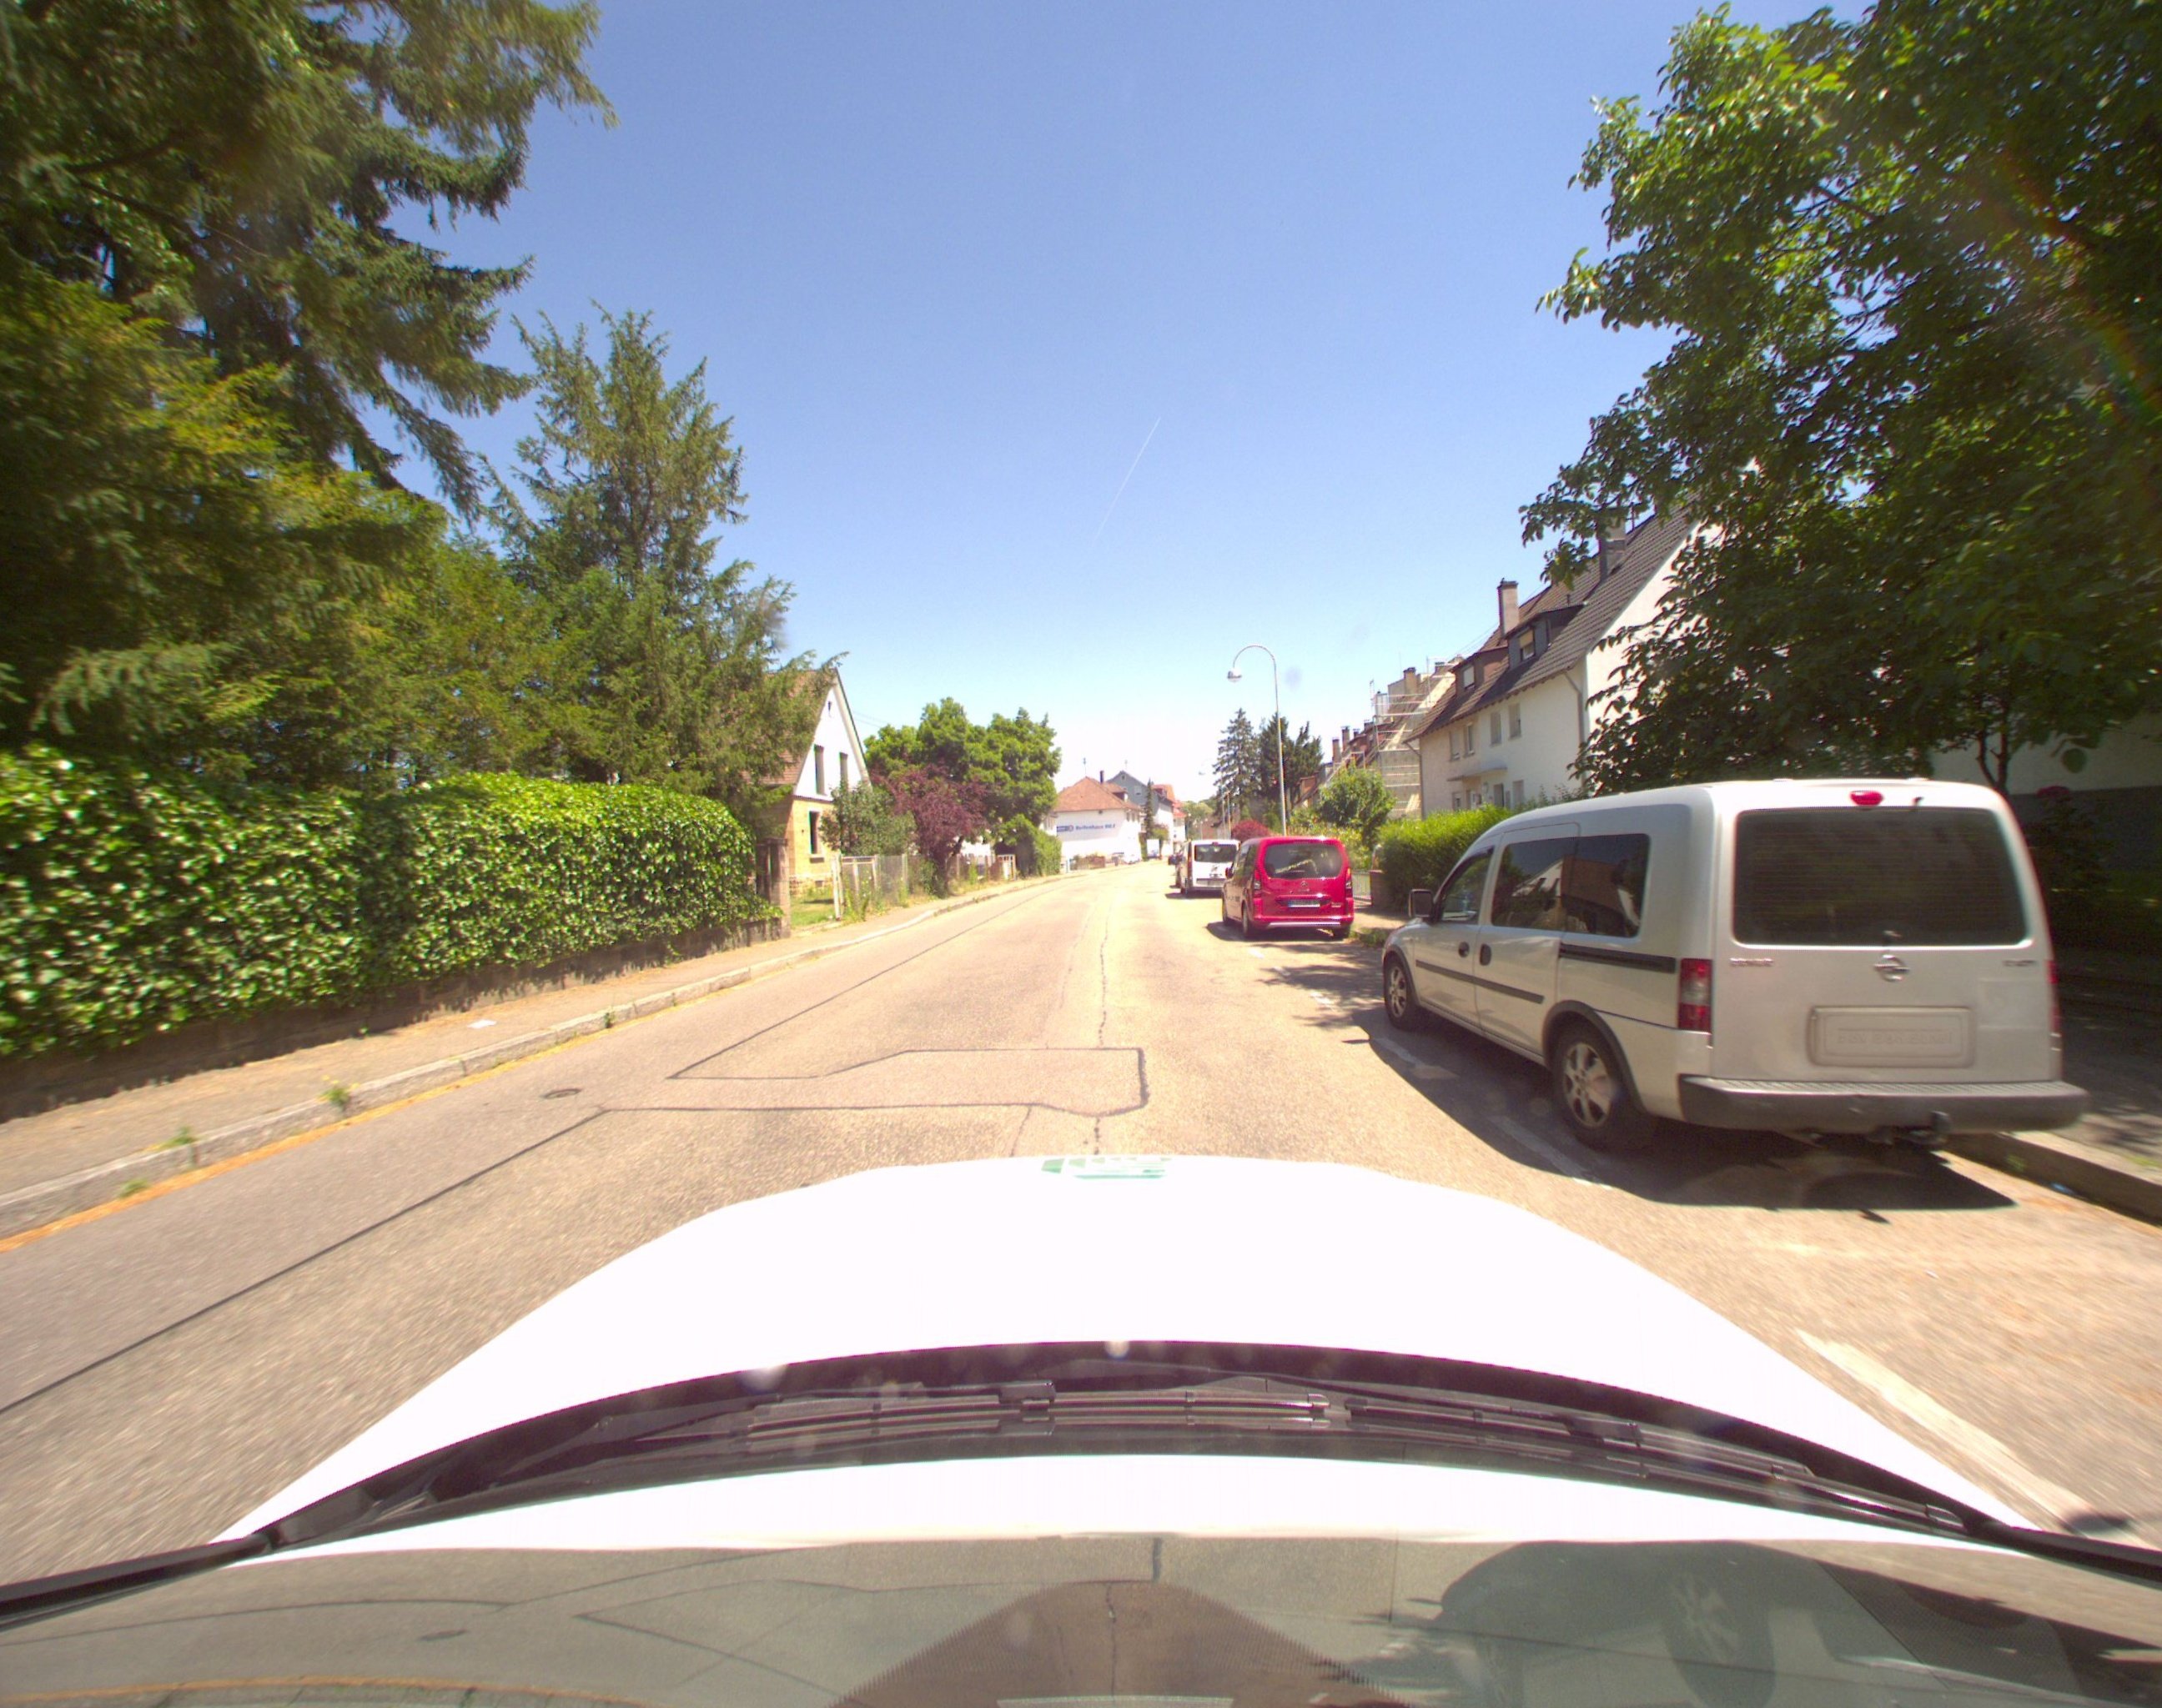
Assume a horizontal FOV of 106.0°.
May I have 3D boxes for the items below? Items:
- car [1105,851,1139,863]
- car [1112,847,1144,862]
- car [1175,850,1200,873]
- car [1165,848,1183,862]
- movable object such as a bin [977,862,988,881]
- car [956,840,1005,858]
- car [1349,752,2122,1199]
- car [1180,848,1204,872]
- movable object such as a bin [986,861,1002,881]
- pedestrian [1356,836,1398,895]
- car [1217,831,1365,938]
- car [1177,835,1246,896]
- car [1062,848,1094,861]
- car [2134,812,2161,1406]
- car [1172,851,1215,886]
[{"bbox_3d":[5.300,0.389,106.052,1.923,1.343,4.091,-3,1,-45],"label":"car"},{"bbox_3d":[6.410,0.064,111.404,4.106,1.774,1.832,-2,0,7],"label":"car"},{"bbox_3d":[7.428,0.484,56.499,1.654,1.454,4.010,-1,0,8],"label":"car"},{"bbox_3d":[10.851,0.074,94.546,1.783,1.510,4.011,-1,0,10],"label":"car"},{"bbox_3d":[-5.226,0.926,43.282,0.465,1.009,0.506,-2,0,4],"label":"movable object such as a bin"},{"bbox_3d":[-8.564,-0.424,69.588,3.975,1.510,1.799,-1,0,-1],"label":"car"},{"bbox_3d":[3.373,0.487,5.550,1.739,1.782,4.546,-1,0,2],"label":"car"},{"bbox_3d":[8.419,0.468,61.471,1.653,1.755,4.011,0,0,10],"label":"car"},{"bbox_3d":[-4.544,0.897,42.638,0.705,0.996,0.474,-2,0,2],"label":"movable object such as a bin"},{"bbox_3d":[8.080,0.300,22.247,0.785,1.517,0.709,-5,0,3],"label":"pedestrian"},{"bbox_3d":[3.774,0.496,15.435,1.895,1.728,4.395,-1,0,3],"label":"car"},{"bbox_3d":[4.519,0.365,28.863,1.895,1.924,4.723,-2,0,3],"label":"car"},{"bbox_3d":[-0.382,0.111,101.212,1.810,1.510,3.951,-3,1,-43],"label":"car"},{"bbox_3d":[3.249,0.639,0.707,1.255,1.495,2.712,-1,0,4],"label":"car"},{"bbox_3d":[4.933,0.589,36.122,1.648,1.398,4.006,-2,0,5],"label":"car"}]
